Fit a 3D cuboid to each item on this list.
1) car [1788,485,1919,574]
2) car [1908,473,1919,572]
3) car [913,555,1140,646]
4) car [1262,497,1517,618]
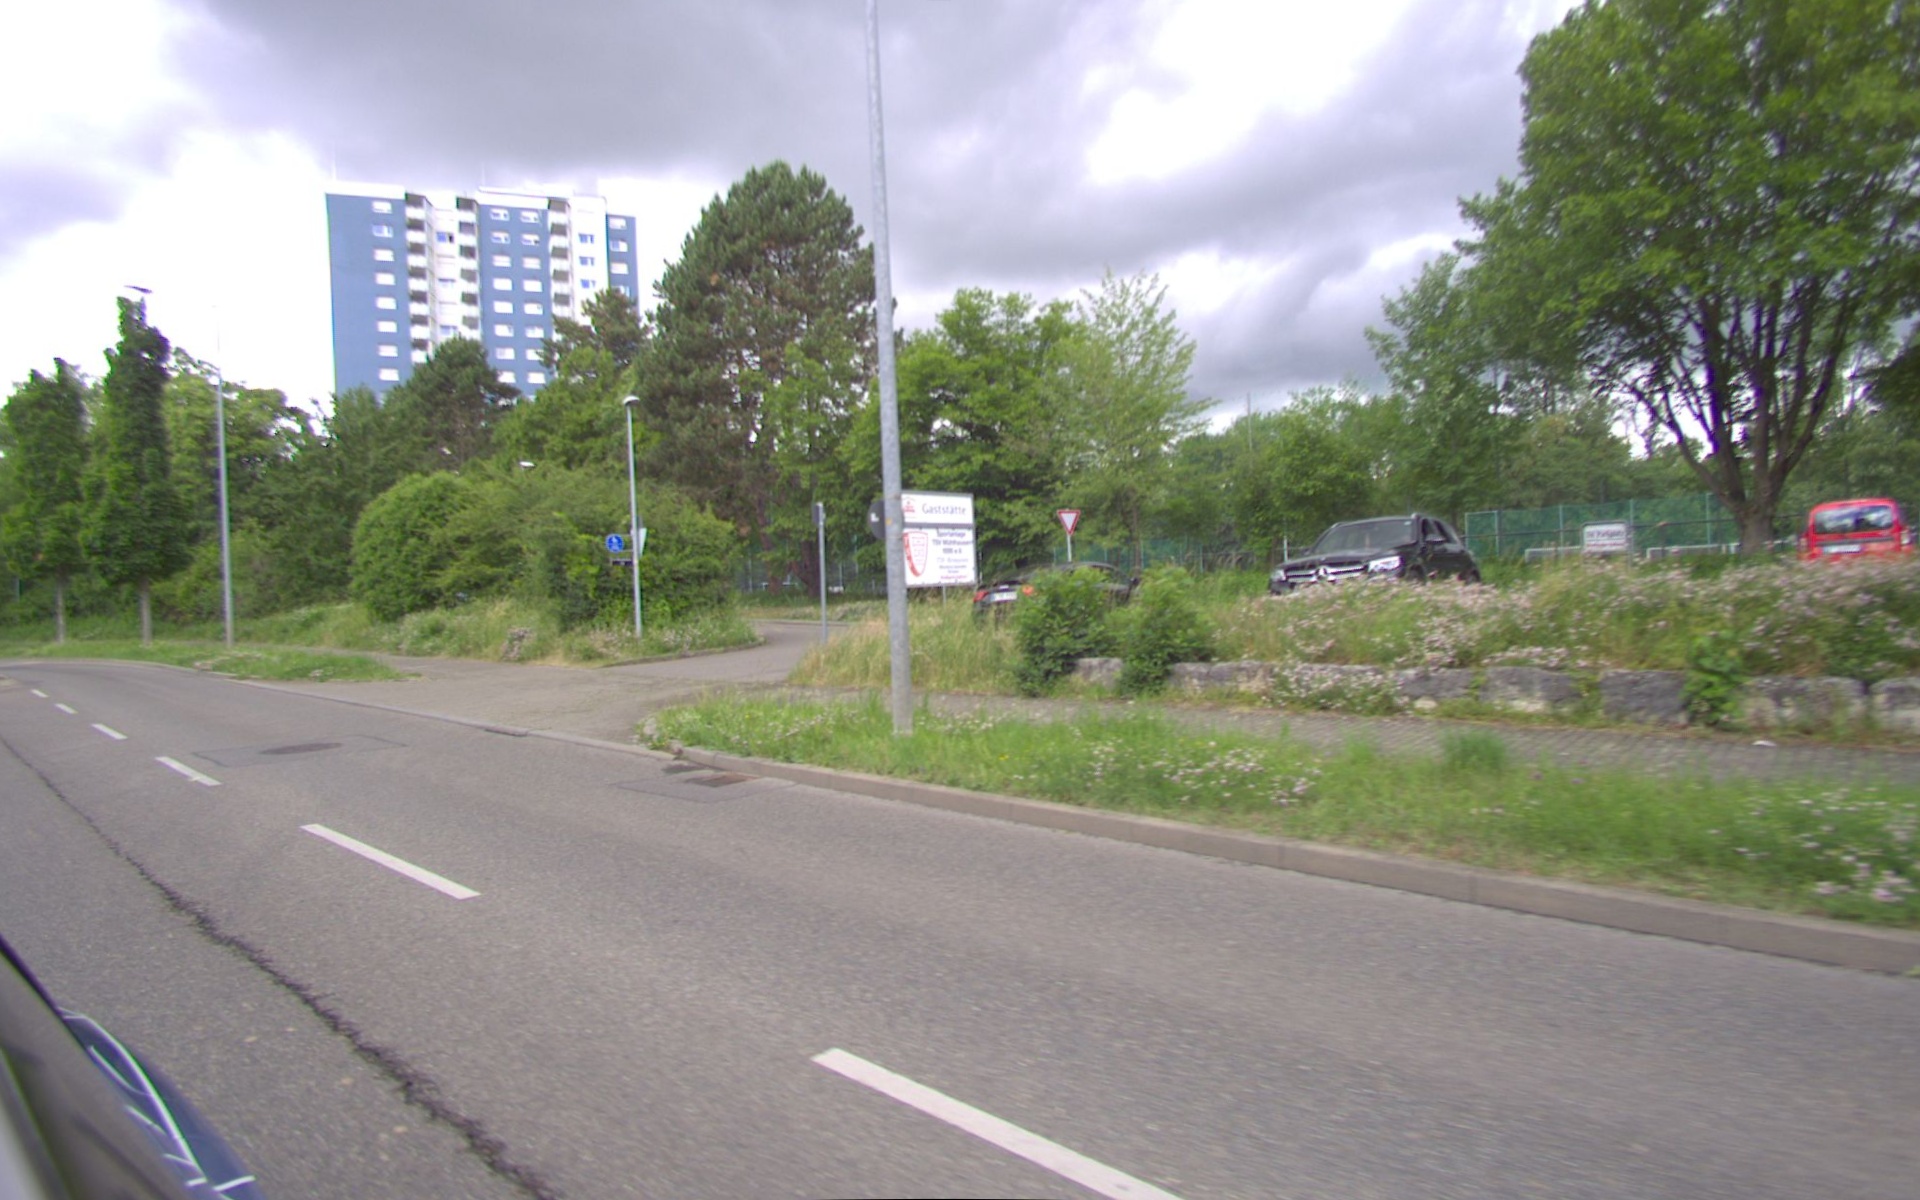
[{"bbox_3d":[16.892,-1.268,18.903,1.902,1.428,4.055,-2,1,44],"label":"car"},{"bbox_3d":[15.890,-1.195,13.977,4.048,1.428,1.972,-2,1,43],"label":"car"},{"bbox_3d":[1.280,-0.036,18.241,2.000,1.428,3.943,-2,1,44],"label":"car"},{"bbox_3d":[6.142,-0.569,14.249,2.000,1.428,3.990,-2,1,44],"label":"car"}]
